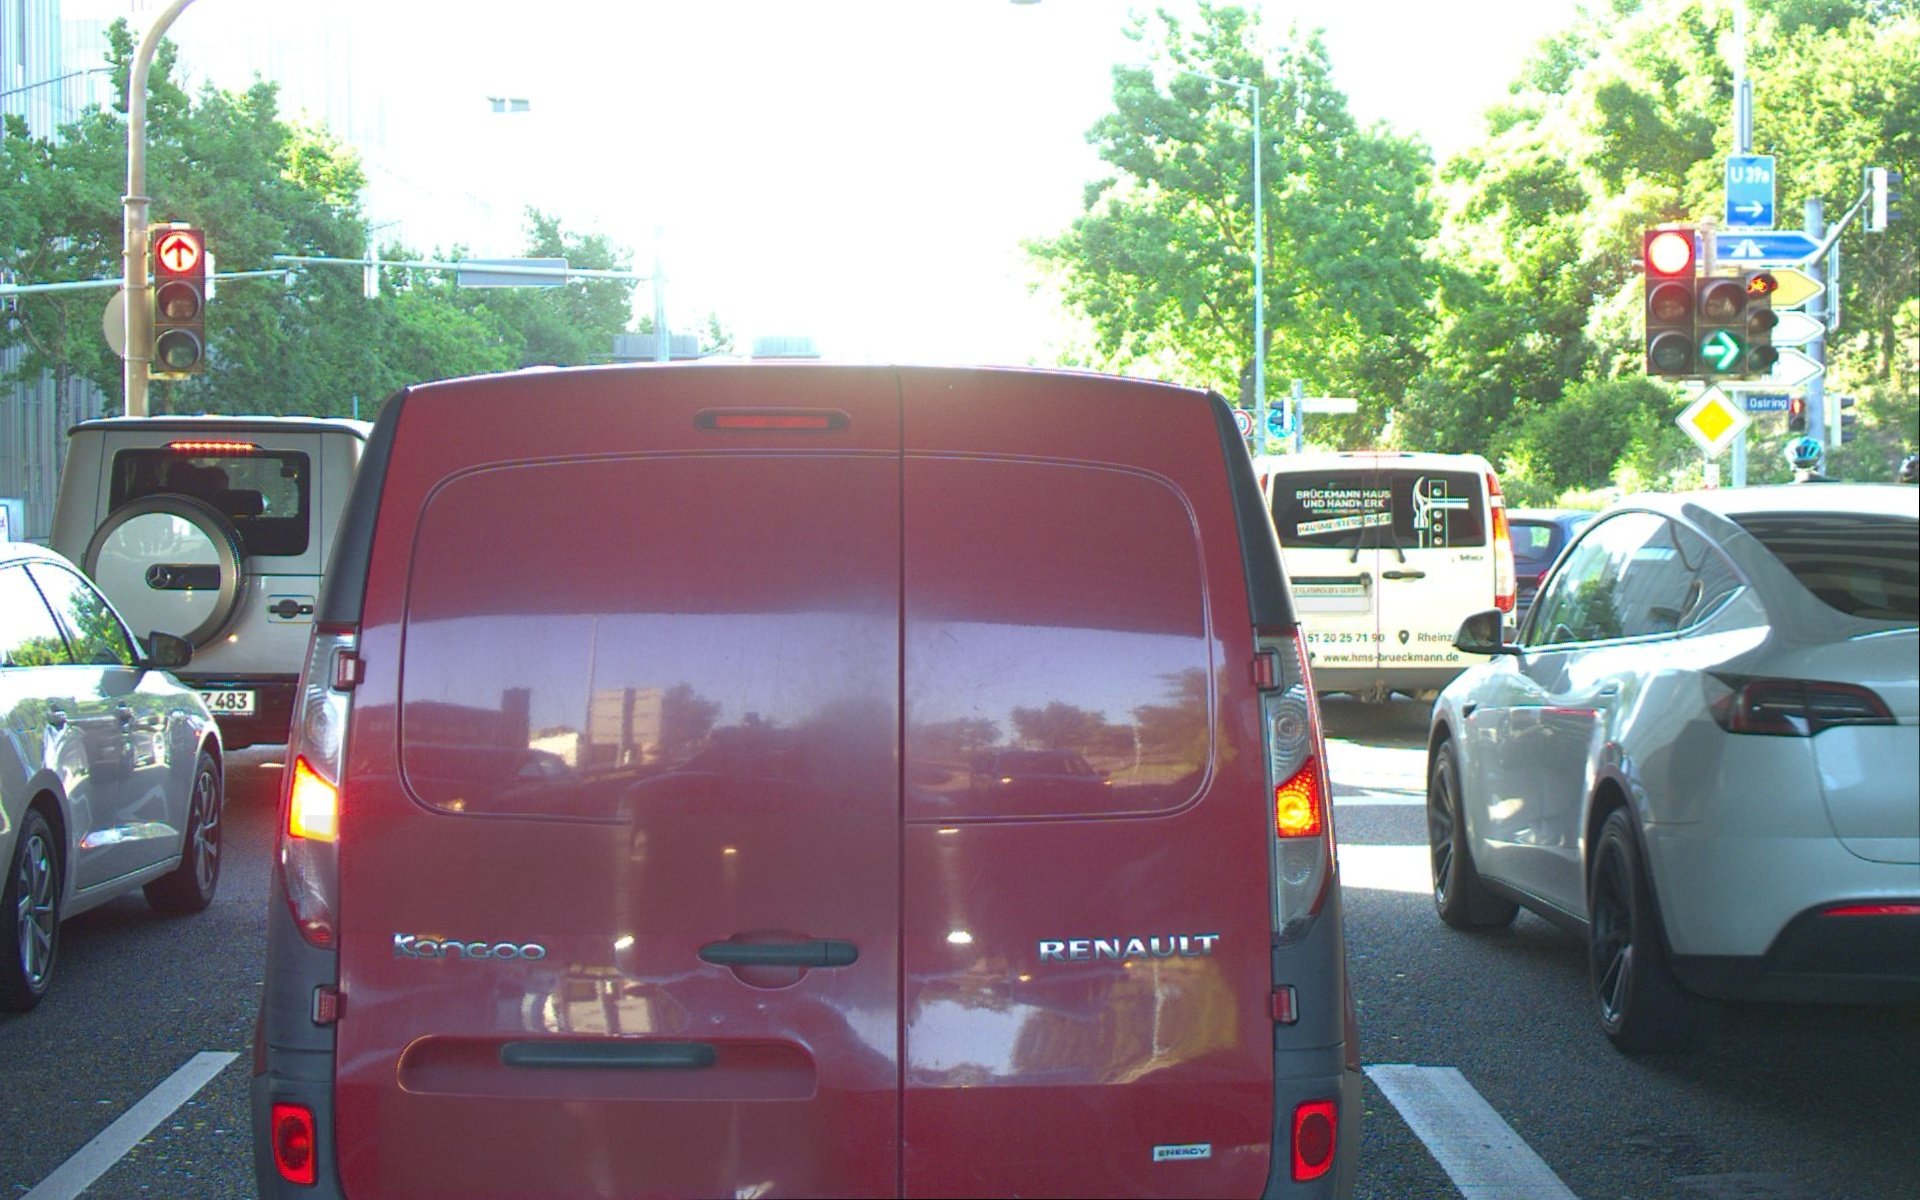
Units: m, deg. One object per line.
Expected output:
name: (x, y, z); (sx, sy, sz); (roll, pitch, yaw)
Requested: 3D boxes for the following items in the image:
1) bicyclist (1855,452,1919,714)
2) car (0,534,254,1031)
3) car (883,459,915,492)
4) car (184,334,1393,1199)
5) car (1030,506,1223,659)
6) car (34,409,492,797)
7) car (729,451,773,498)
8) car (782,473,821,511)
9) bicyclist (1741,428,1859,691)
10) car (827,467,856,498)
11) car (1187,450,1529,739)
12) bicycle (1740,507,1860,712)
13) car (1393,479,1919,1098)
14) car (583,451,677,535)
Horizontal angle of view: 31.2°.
bicyclist: (6.023, -0.105, 21.632); (0.677, 1.623, 0.644); (1, 0, 10)
car: (-3.595, 0.487, 11.493); (1.692, 1.405, 3.813); (1, 1, 0)
car: (-3.930, -7.962, 220.615); (1.993, 2.007, 4.000); (1, 1, -1)
car: (-0.272, 0.469, 6.934); (1.719, 1.758, 4.000); (1, 1, -1)
car: (1.645, -0.207, 35.005); (1.745, 1.451, 3.717); (1, 1, 0)
car: (-3.703, -0.022, 18.892); (1.813, 1.897, 3.814); (1, 1, -1)
car: (-9.528, -5.703, 156.851); (1.748, 2.007, 3.845); (1, 1, -1)
car: (-8.996, -6.133, 195.460); (1.993, 2.007, 4.000); (1, 1, -1)
bicyclist: (4.992, -0.245, 20.455); (0.653, 1.528, 0.846); (1, 1, 13)
car: (-8.308, -8.235, 240.991); (1.929, 2.007, 3.914); (1, 1, -1)
car: (2.704, -0.115, 24.411); (1.897, 1.830, 4.836); (1, 2, 1)
bicycle: (4.993, 0.038, 20.461); (0.651, 1.163, 1.777); (1, 1, 13)
car: (2.741, 0.459, 10.889); (1.993, 1.546, 4.421); (2, 1, -2)
car: (-8.294, -2.680, 86.686); (1.993, 2.007, 4.000); (1, 1, -1)
